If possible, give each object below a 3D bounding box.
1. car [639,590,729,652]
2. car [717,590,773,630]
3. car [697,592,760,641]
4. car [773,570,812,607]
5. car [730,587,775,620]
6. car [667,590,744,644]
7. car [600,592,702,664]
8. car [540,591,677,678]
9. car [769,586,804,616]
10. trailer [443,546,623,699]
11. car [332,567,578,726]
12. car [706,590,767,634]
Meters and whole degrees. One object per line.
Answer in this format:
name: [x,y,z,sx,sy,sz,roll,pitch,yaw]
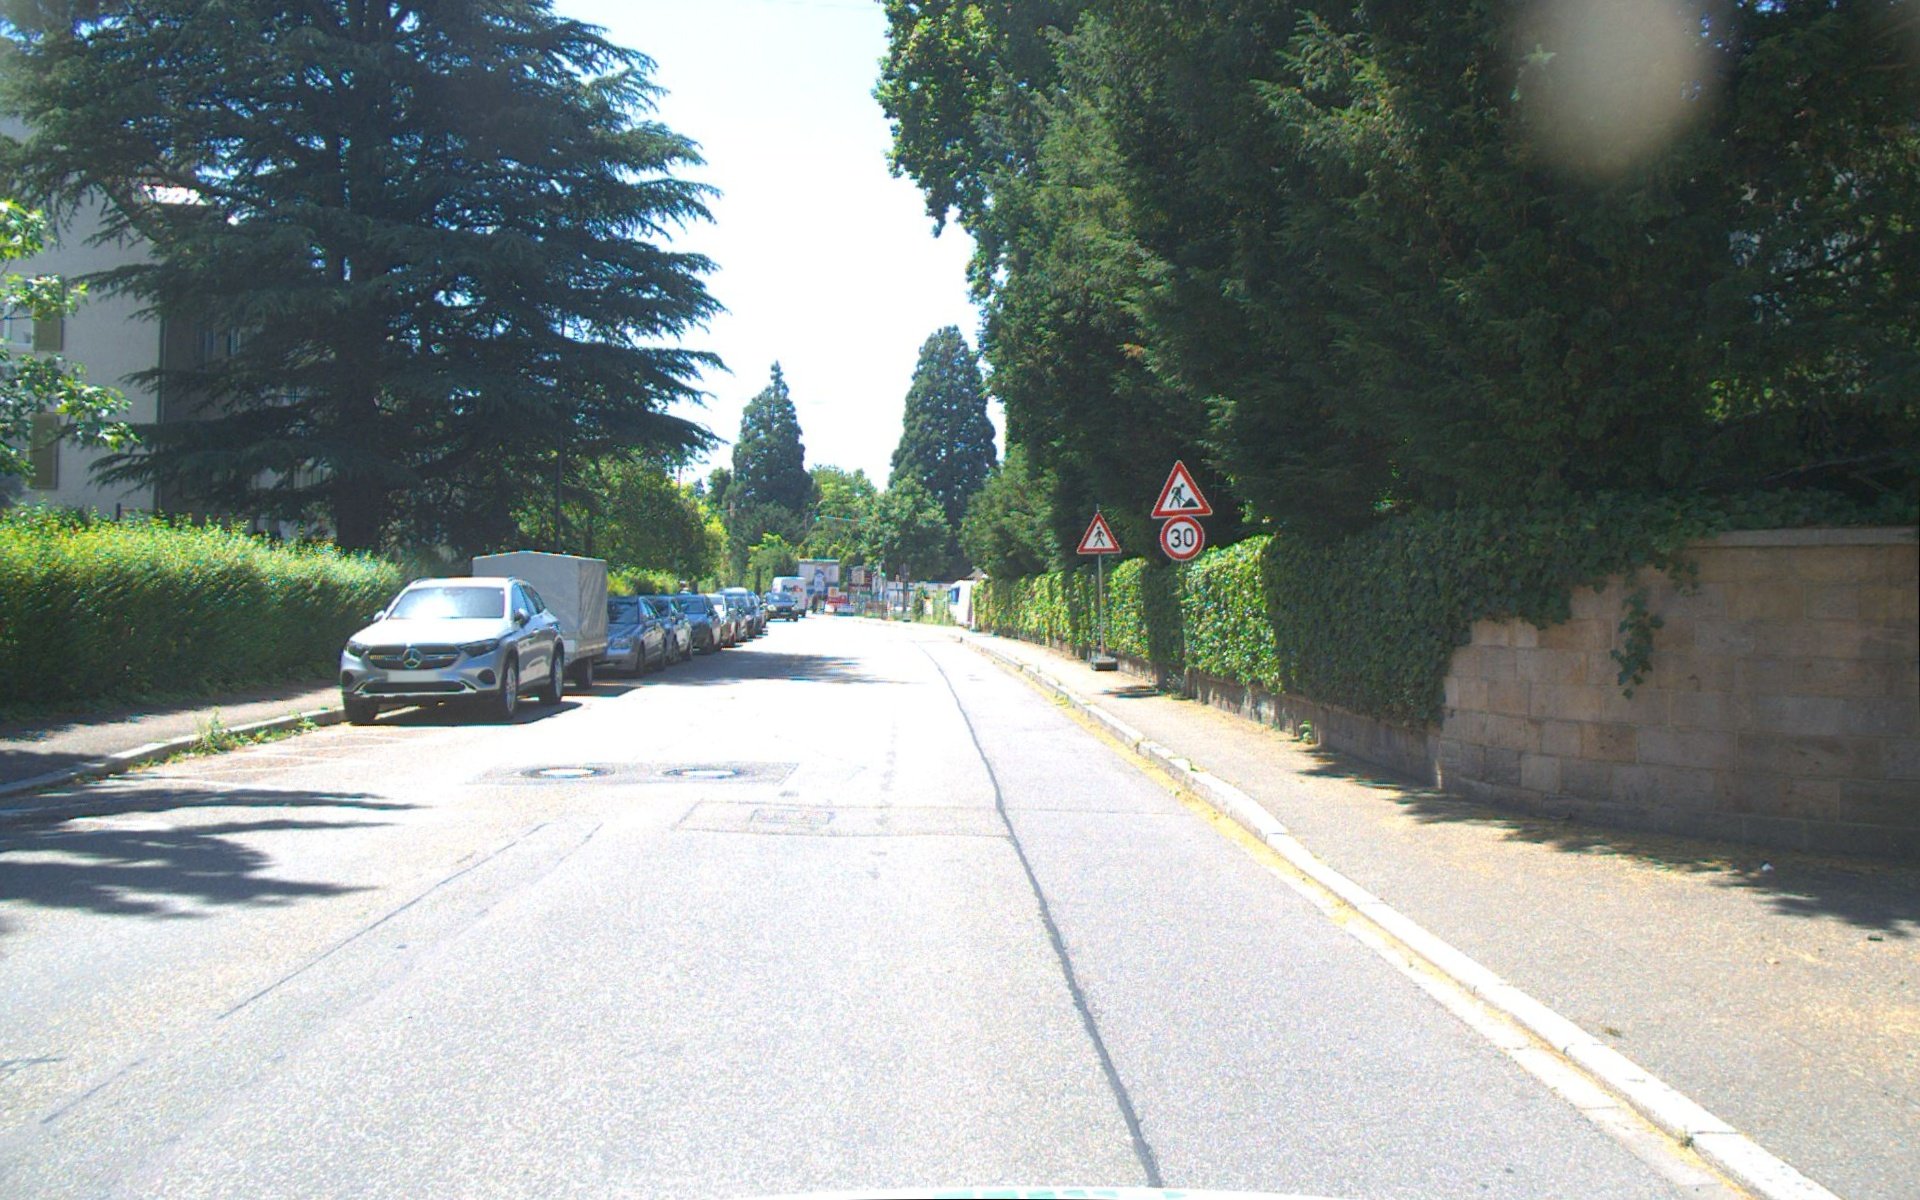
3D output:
car: [-6.921,0.487,41.789,1.654,1.470,4.134,0,1,-1]
car: [-8.162,0.366,63.109,1.654,1.470,4.134,0,0,-1]
car: [-7.304,0.496,52.468,1.656,1.474,3.997,0,0,-4]
car: [-11.126,-0.756,109.545,2.105,2.356,4.840,-1,1,-11]
car: [-9.516,0.135,76.135,1.654,1.470,4.134,0,0,-1]
car: [-7.294,0.460,47.671,1.654,1.470,4.134,0,0,-1]
car: [-6.638,0.561,35.855,1.550,1.414,3.882,-1,0,-1]
car: [-6.418,0.577,30.640,1.675,1.464,4.321,-1,0,-1]
car: [-9.532,0.032,90.957,1.816,1.612,4.131,0,0,-5]
trailer: [-6.343,0.293,25.000,1.811,2.075,4.160,-1,0,-3]
car: [-6.097,0.501,20.563,1.814,1.700,4.709,-1,0,-3]
car: [-7.770,0.389,57.817,1.654,1.470,4.134,0,0,-1]
